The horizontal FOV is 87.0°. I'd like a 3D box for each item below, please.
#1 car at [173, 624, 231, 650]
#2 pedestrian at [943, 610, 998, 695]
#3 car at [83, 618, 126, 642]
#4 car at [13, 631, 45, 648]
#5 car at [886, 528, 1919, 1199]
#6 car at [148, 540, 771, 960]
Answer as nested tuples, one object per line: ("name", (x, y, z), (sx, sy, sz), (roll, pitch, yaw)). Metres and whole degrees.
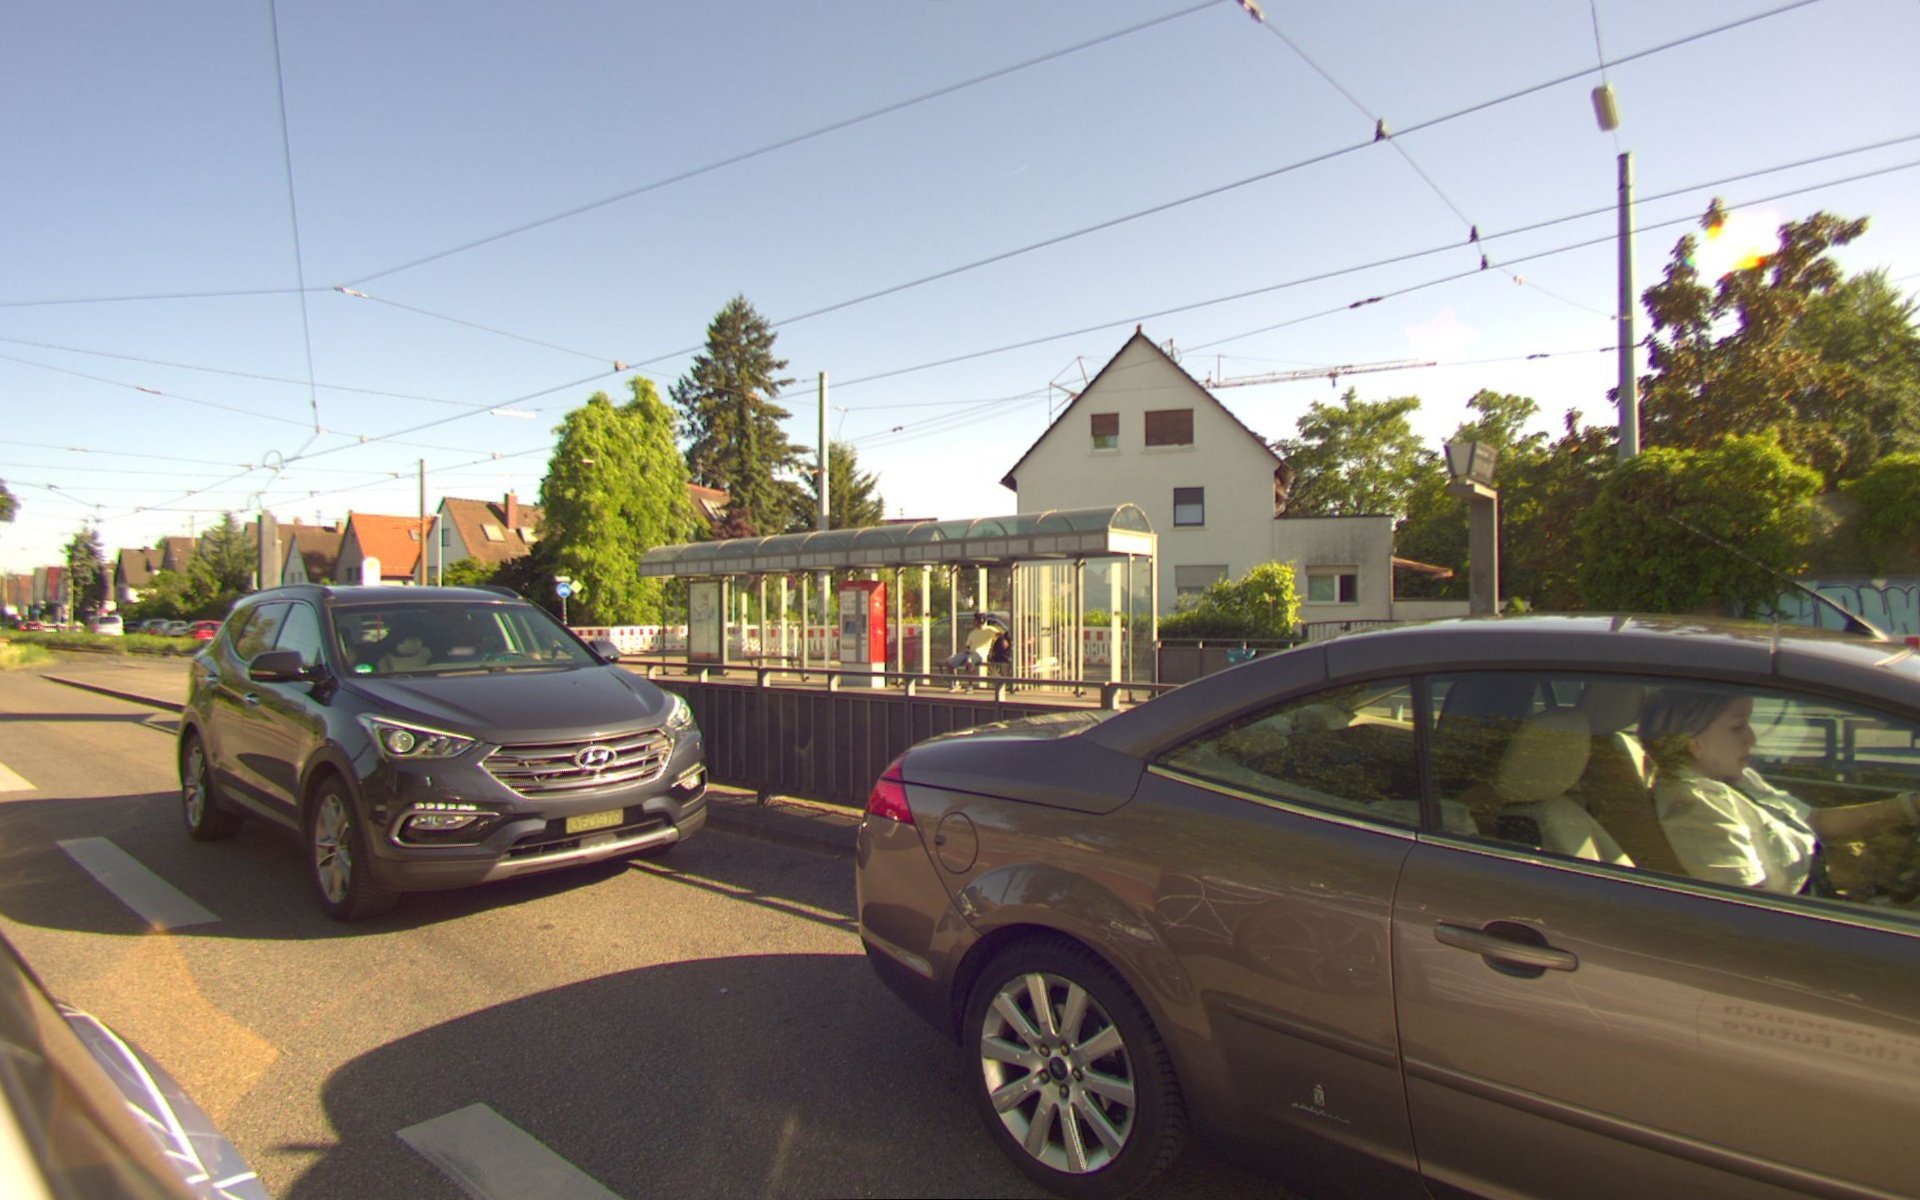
("car", (-44.583, 2.161, 59.484), (3.999, 1.475, 1.972), (-2, -2, 42))
("pedestrian", (0.180, 0.892, 17.483), (0.710, 1.425, 0.616), (-2, -2, 39))
("car", (-67.038, 2.339, 79.293), (3.999, 1.785, 1.972), (-2, -2, 42))
("car", (-94.609, 3.979, 102.843), (3.998, 1.674, 1.973), (-2, -2, 41))
("car", (1.977, 0.681, 2.063), (4.189, 1.546, 1.733), (-2, -2, 38))
("car", (-3.277, 0.669, 6.230), (4.296, 1.709, 1.862), (-2, -2, 40))
